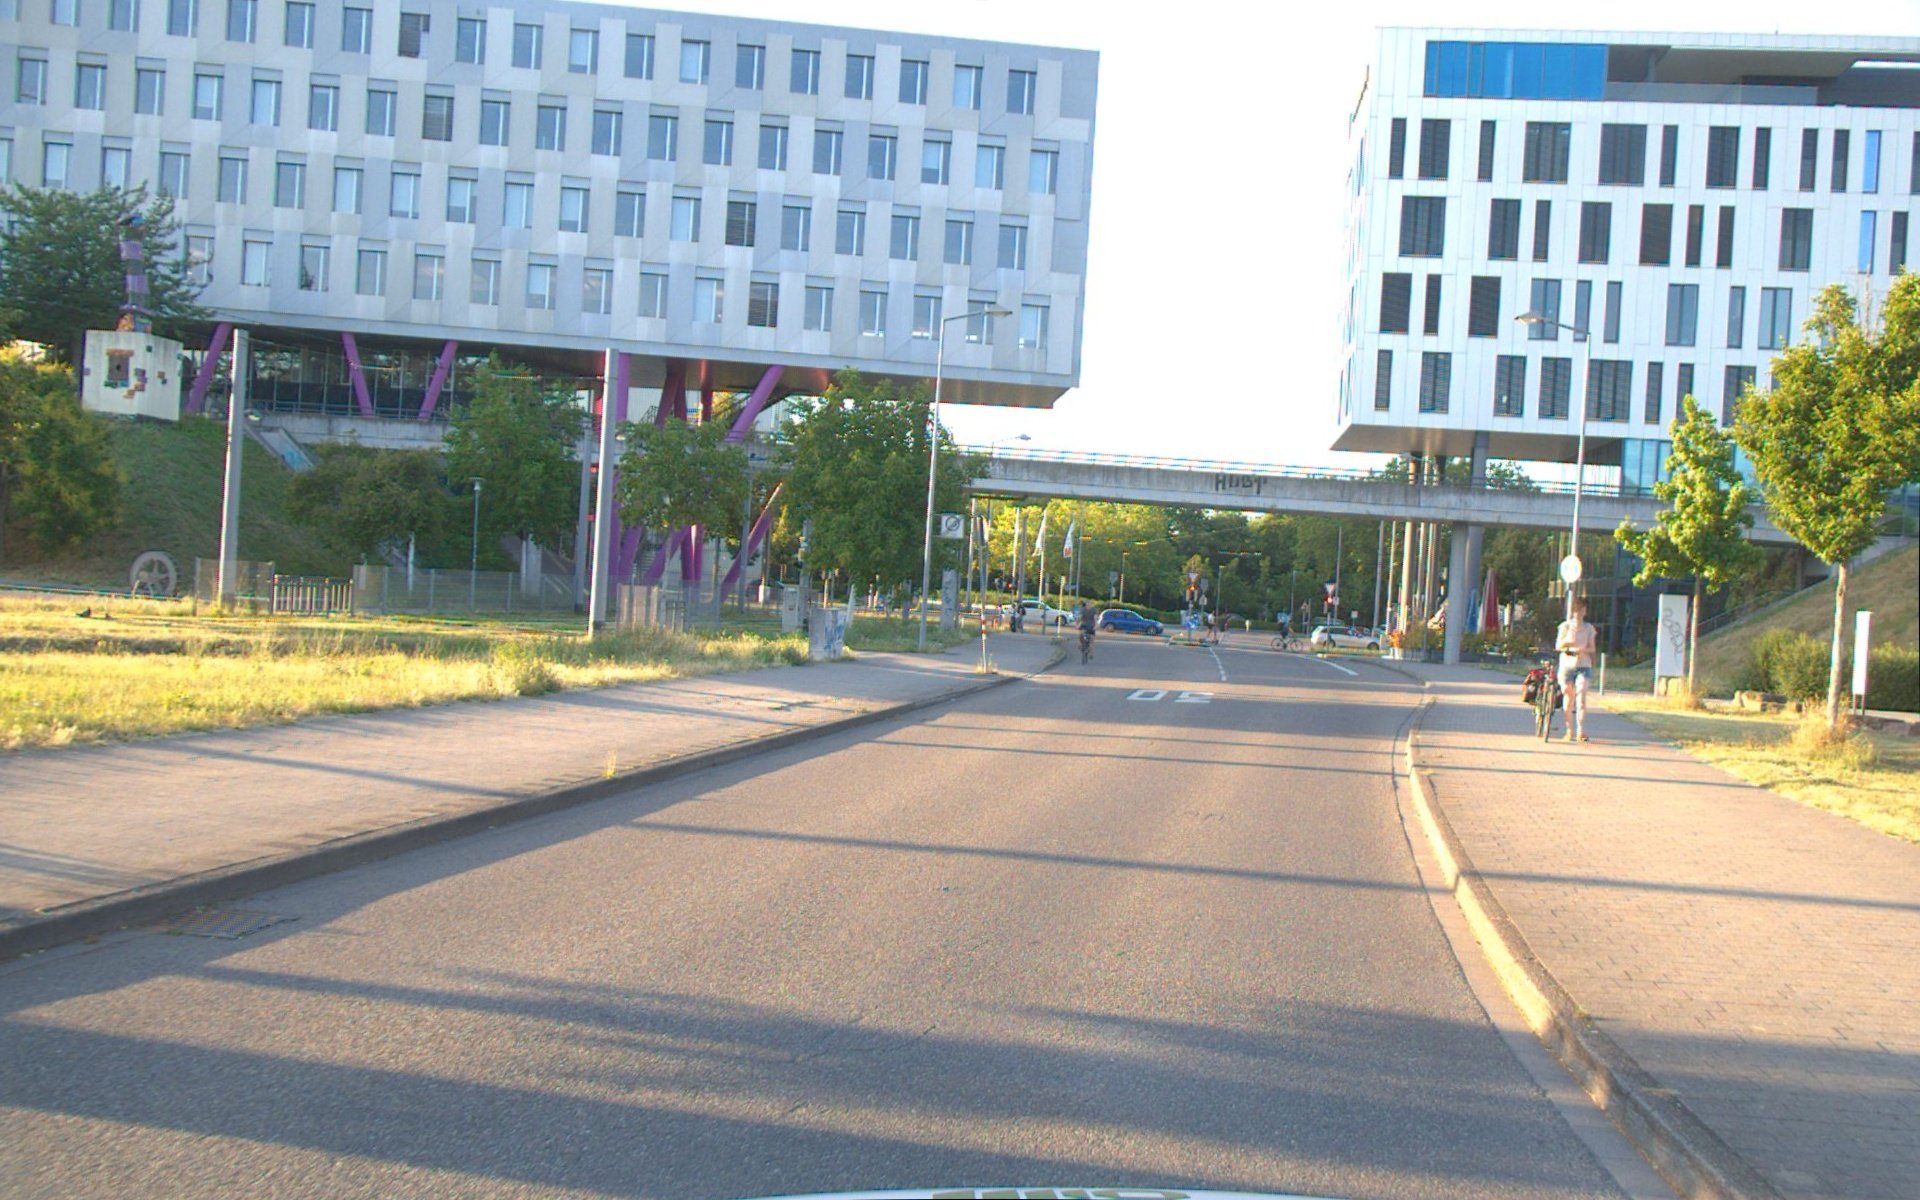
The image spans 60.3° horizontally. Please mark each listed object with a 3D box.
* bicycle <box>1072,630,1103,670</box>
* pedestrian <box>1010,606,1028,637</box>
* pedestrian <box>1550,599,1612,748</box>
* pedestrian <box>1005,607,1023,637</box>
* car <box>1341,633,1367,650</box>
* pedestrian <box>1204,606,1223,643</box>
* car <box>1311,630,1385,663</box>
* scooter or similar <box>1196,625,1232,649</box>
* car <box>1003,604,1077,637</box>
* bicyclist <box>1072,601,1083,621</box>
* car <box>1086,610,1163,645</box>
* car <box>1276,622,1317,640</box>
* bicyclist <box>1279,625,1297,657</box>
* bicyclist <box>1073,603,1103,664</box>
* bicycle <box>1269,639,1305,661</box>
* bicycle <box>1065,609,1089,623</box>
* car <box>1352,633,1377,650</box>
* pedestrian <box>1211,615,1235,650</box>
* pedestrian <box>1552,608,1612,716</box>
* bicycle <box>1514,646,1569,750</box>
[{"bbox_3d":[3.616,1.403,46.902,0.527,1.061,1.926,3,1,14],"label":"bicycle"},{"bbox_3d":[3.356,1.227,93.419,0.687,1.693,0.711,4,1,26],"label":"pedestrian"},{"bbox_3d":[7.961,0.920,21.226,0.582,1.833,0.818,3,1,16],"label":"pedestrian"},{"bbox_3d":[3.012,1.246,92.739,0.673,1.652,0.711,4,1,26],"label":"pedestrian"},{"bbox_3d":[41.715,4.398,174.892,1.472,1.634,3.391,4,1,35],"label":"car"},{"bbox_3d":[14.342,1.379,93.566,0.890,2.025,0.771,3,1,1],"label":"pedestrian"},{"bbox_3d":[24.476,2.926,104.485,4.321,1.754,1.836,4,1,7],"label":"car"},{"bbox_3d":[14.362,2.084,93.567,1.822,1.194,0.764,4,1,1],"label":"scooter or similar"},{"bbox_3d":[5.276,1.355,109.137,4.588,1.860,1.836,4,1,10],"label":"car"},{"bbox_3d":[10.402,0.977,145.935,0.744,1.753,0.550,3,1,-16],"label":"bicyclist"},{"bbox_3d":[10.447,1.725,105.281,4.618,1.860,1.893,4,1,0],"label":"car"},{"bbox_3d":[40.459,3.701,198.804,4.586,1.901,2.014,4,1,16],"label":"car"},{"bbox_3d":[18.467,2.316,93.085,0.842,1.761,0.606,3,1,13],"label":"bicyclist"},{"bbox_3d":[3.631,0.937,46.893,0.602,1.691,1.037,3,1,14],"label":"bicyclist"},{"bbox_3d":[18.394,2.803,93.100,1.929,1.111,0.622,4,1,13],"label":"bicycle"},{"bbox_3d":[10.310,1.426,145.897,1.931,1.147,0.558,3,1,-17],"label":"bicycle"},{"bbox_3d":[43.550,4.465,178.099,1.472,1.634,3.391,4,1,35],"label":"car"},{"bbox_3d":[14.483,1.783,91.043,1.033,1.865,0.894,3,1,-4],"label":"pedestrian"},{"bbox_3d":[10.826,1.066,28.804,0.814,1.797,0.818,4,1,16],"label":"pedestrian"},{"bbox_3d":[7.419,1.218,21.155,0.440,1.189,1.942,3,1,15],"label":"bicycle"}]
